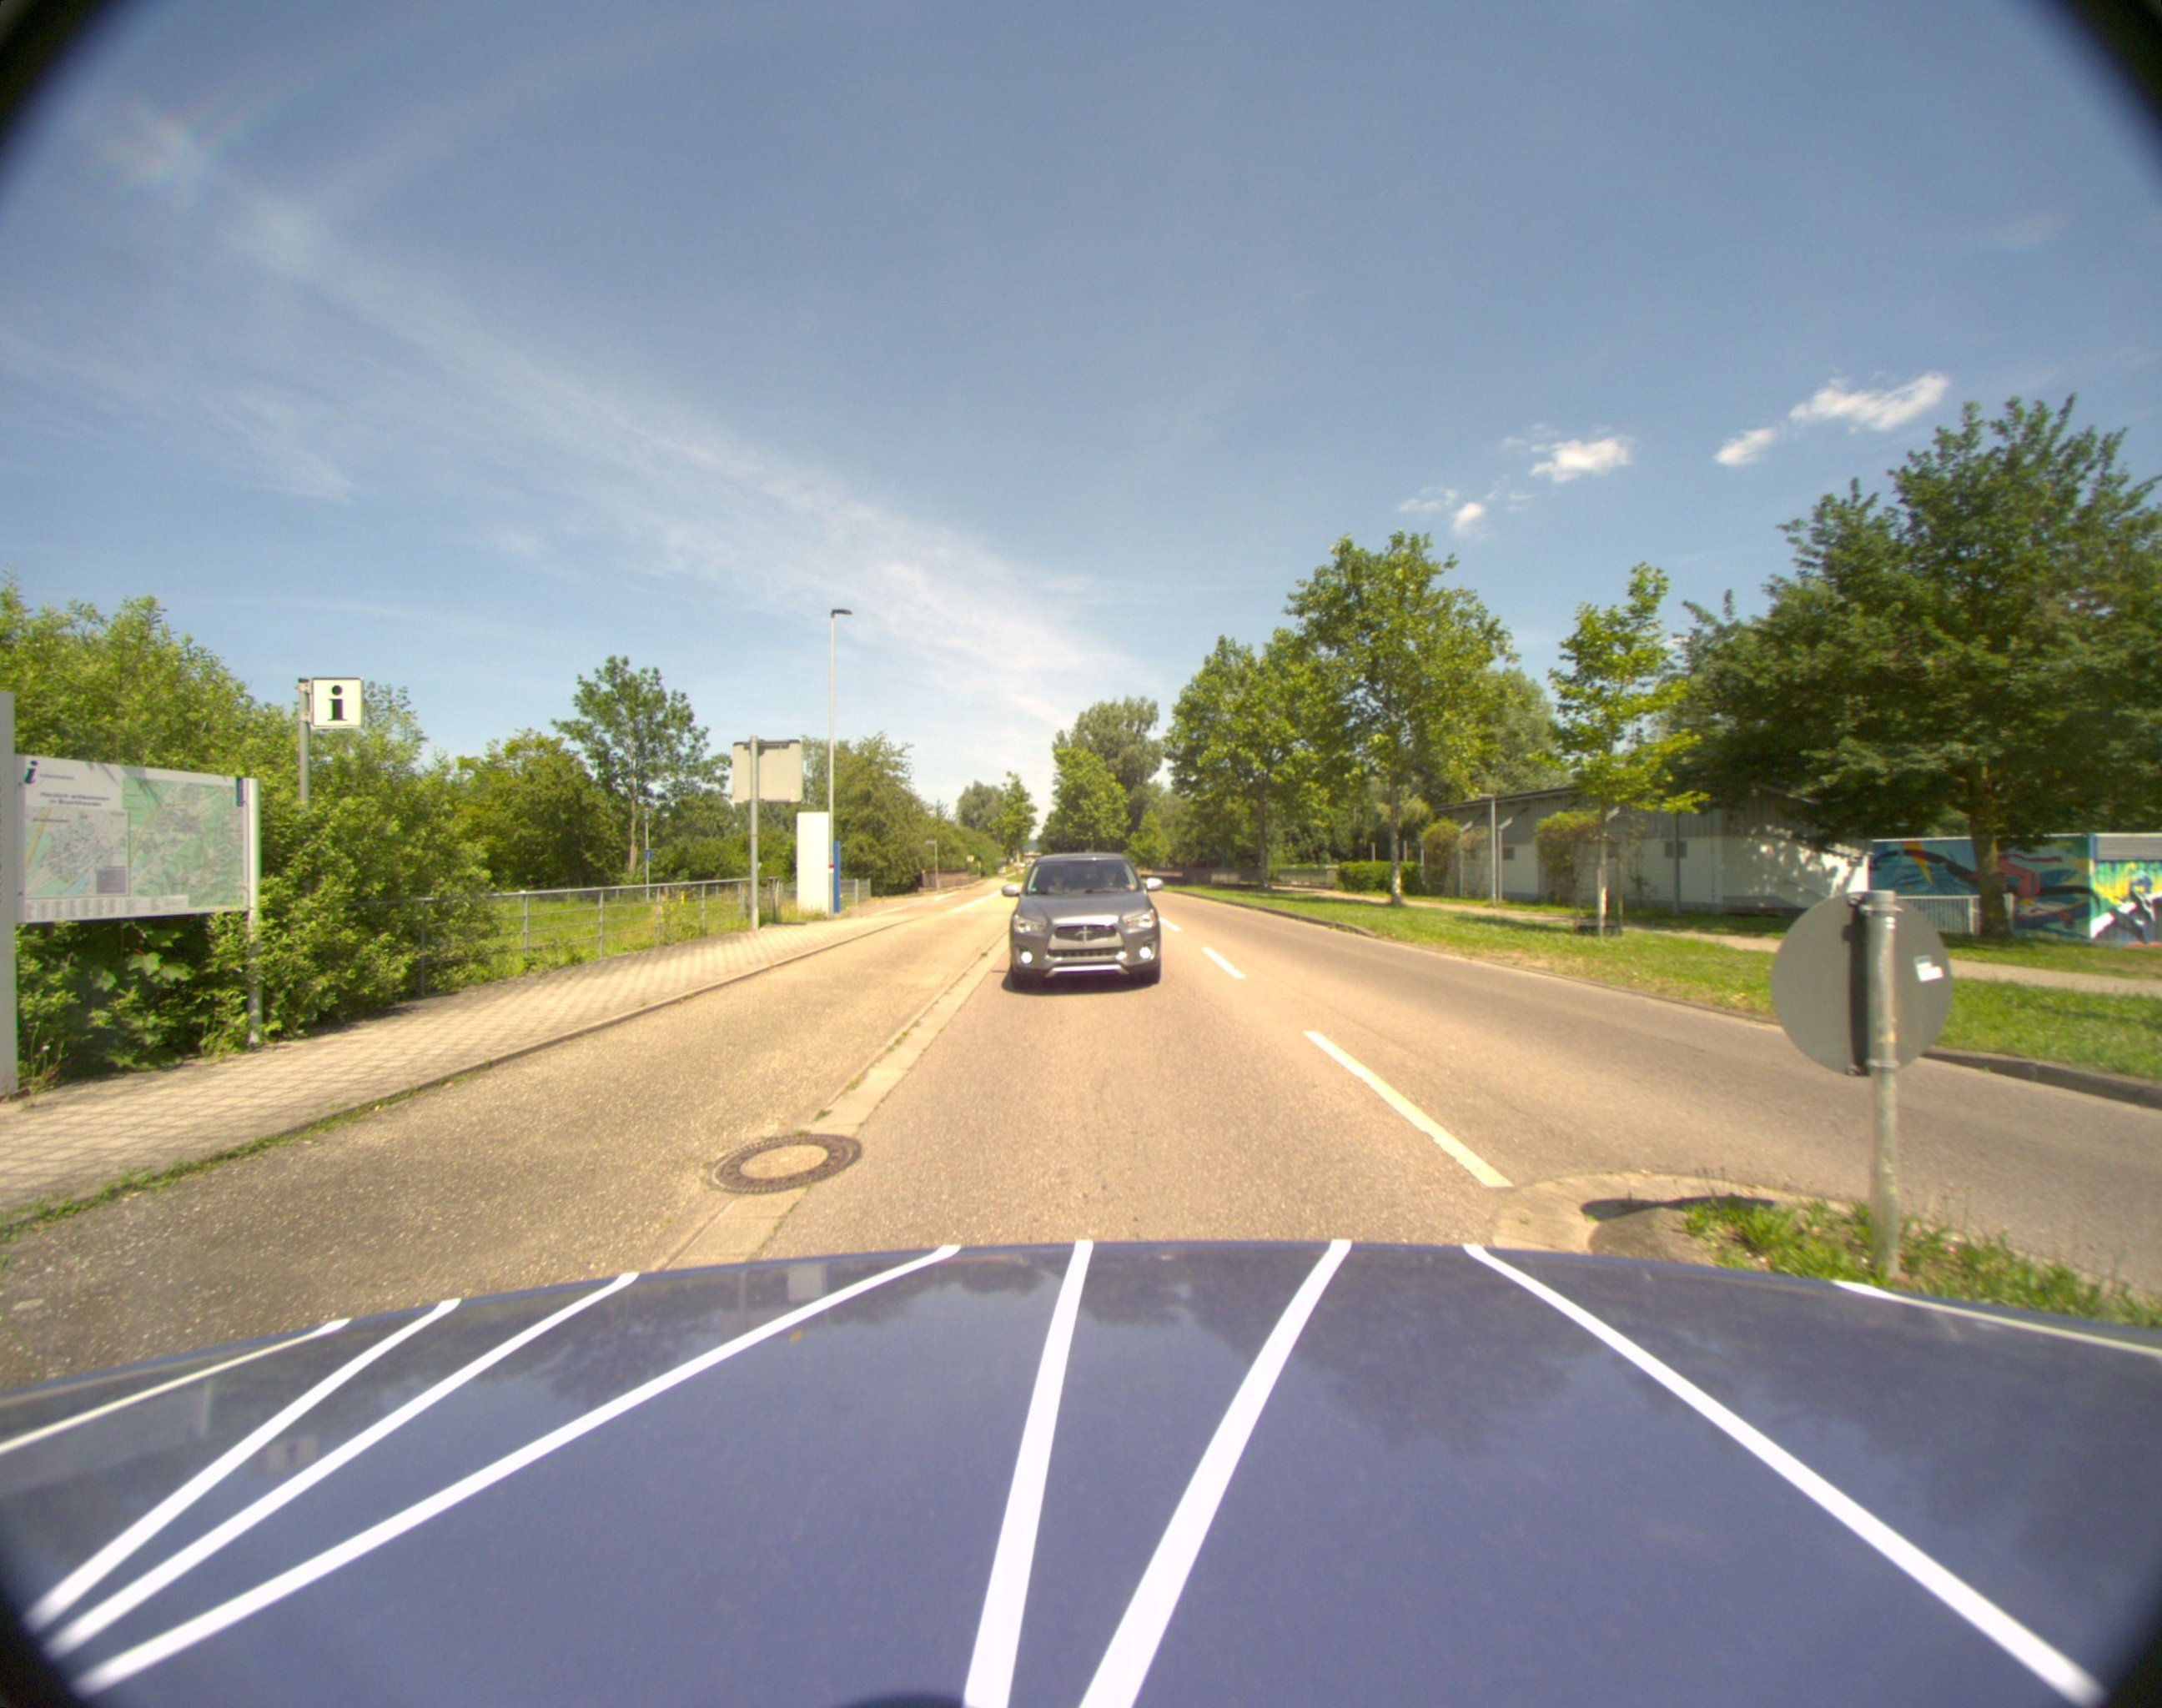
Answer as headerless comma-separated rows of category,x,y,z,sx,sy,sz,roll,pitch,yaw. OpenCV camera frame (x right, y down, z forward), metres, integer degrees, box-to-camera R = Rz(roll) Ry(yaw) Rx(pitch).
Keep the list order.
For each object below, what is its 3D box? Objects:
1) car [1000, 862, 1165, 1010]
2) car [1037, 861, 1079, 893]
car,-0.133,0.900,10.423,1.750,1.525,4.523,-1,0,-4
car,-1.133,1.034,35.755,1.677,1.342,3.829,-2,0,-6
